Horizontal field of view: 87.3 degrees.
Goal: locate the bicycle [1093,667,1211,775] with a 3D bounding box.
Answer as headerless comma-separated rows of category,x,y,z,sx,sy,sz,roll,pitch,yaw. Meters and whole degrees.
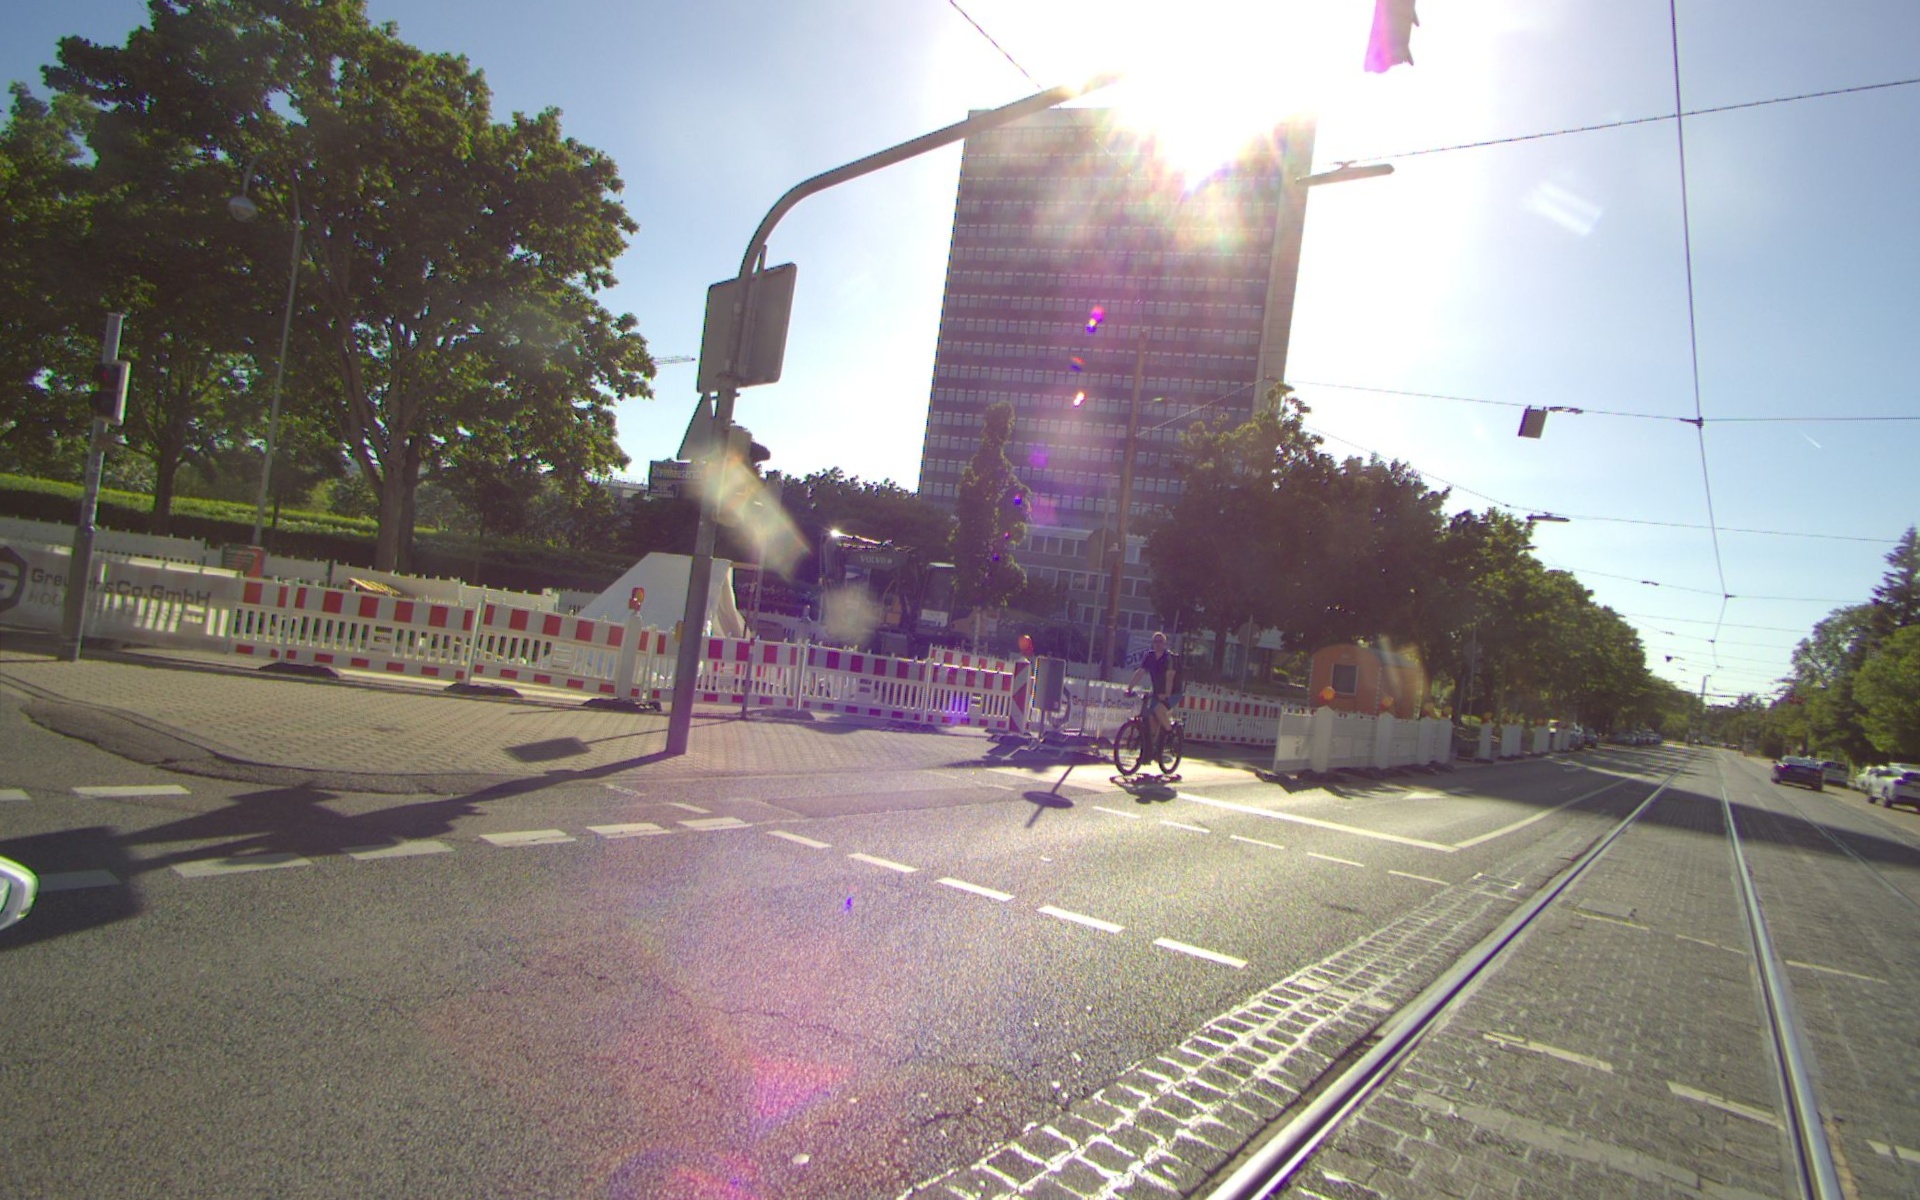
bicycle,2.619,1.631,13.585,0.645,1.281,1.777,8,0,39

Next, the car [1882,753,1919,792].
car,47.918,8.725,50.602,1.783,1.694,3.864,7,-2,38

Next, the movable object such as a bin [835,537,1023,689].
movable object such as a bin,-0.711,0.459,27.363,2.786,3.401,4.709,7,-2,28

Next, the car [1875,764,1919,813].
car,37.468,7.447,39.457,1.782,1.566,3.526,9,0,36

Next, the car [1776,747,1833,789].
car,39.583,7.854,47.217,1.783,1.519,3.864,7,-2,38

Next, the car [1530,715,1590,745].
car,34.880,7.558,58.467,2.858,1.263,1.253,6,-2,34

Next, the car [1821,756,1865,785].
car,56.514,10.901,64.412,1.738,1.473,3.682,7,-2,38

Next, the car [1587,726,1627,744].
car,65.491,13.696,101.874,3.285,1.303,1.302,6,-3,34

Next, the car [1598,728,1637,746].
car,68.823,14.301,105.346,3.285,1.334,1.397,6,-3,34

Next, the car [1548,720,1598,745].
car,43.288,9.370,71.060,2.896,1.264,1.404,6,-3,34

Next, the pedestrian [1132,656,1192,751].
pedestrian,3.655,1.872,18.182,0.627,1.620,0.636,7,-1,44

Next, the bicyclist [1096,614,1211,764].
bicyclist,2.624,1.201,13.608,0.901,1.852,1.091,8,0,40

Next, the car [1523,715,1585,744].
car,33.458,7.272,56.662,2.858,1.190,1.253,6,-3,34
